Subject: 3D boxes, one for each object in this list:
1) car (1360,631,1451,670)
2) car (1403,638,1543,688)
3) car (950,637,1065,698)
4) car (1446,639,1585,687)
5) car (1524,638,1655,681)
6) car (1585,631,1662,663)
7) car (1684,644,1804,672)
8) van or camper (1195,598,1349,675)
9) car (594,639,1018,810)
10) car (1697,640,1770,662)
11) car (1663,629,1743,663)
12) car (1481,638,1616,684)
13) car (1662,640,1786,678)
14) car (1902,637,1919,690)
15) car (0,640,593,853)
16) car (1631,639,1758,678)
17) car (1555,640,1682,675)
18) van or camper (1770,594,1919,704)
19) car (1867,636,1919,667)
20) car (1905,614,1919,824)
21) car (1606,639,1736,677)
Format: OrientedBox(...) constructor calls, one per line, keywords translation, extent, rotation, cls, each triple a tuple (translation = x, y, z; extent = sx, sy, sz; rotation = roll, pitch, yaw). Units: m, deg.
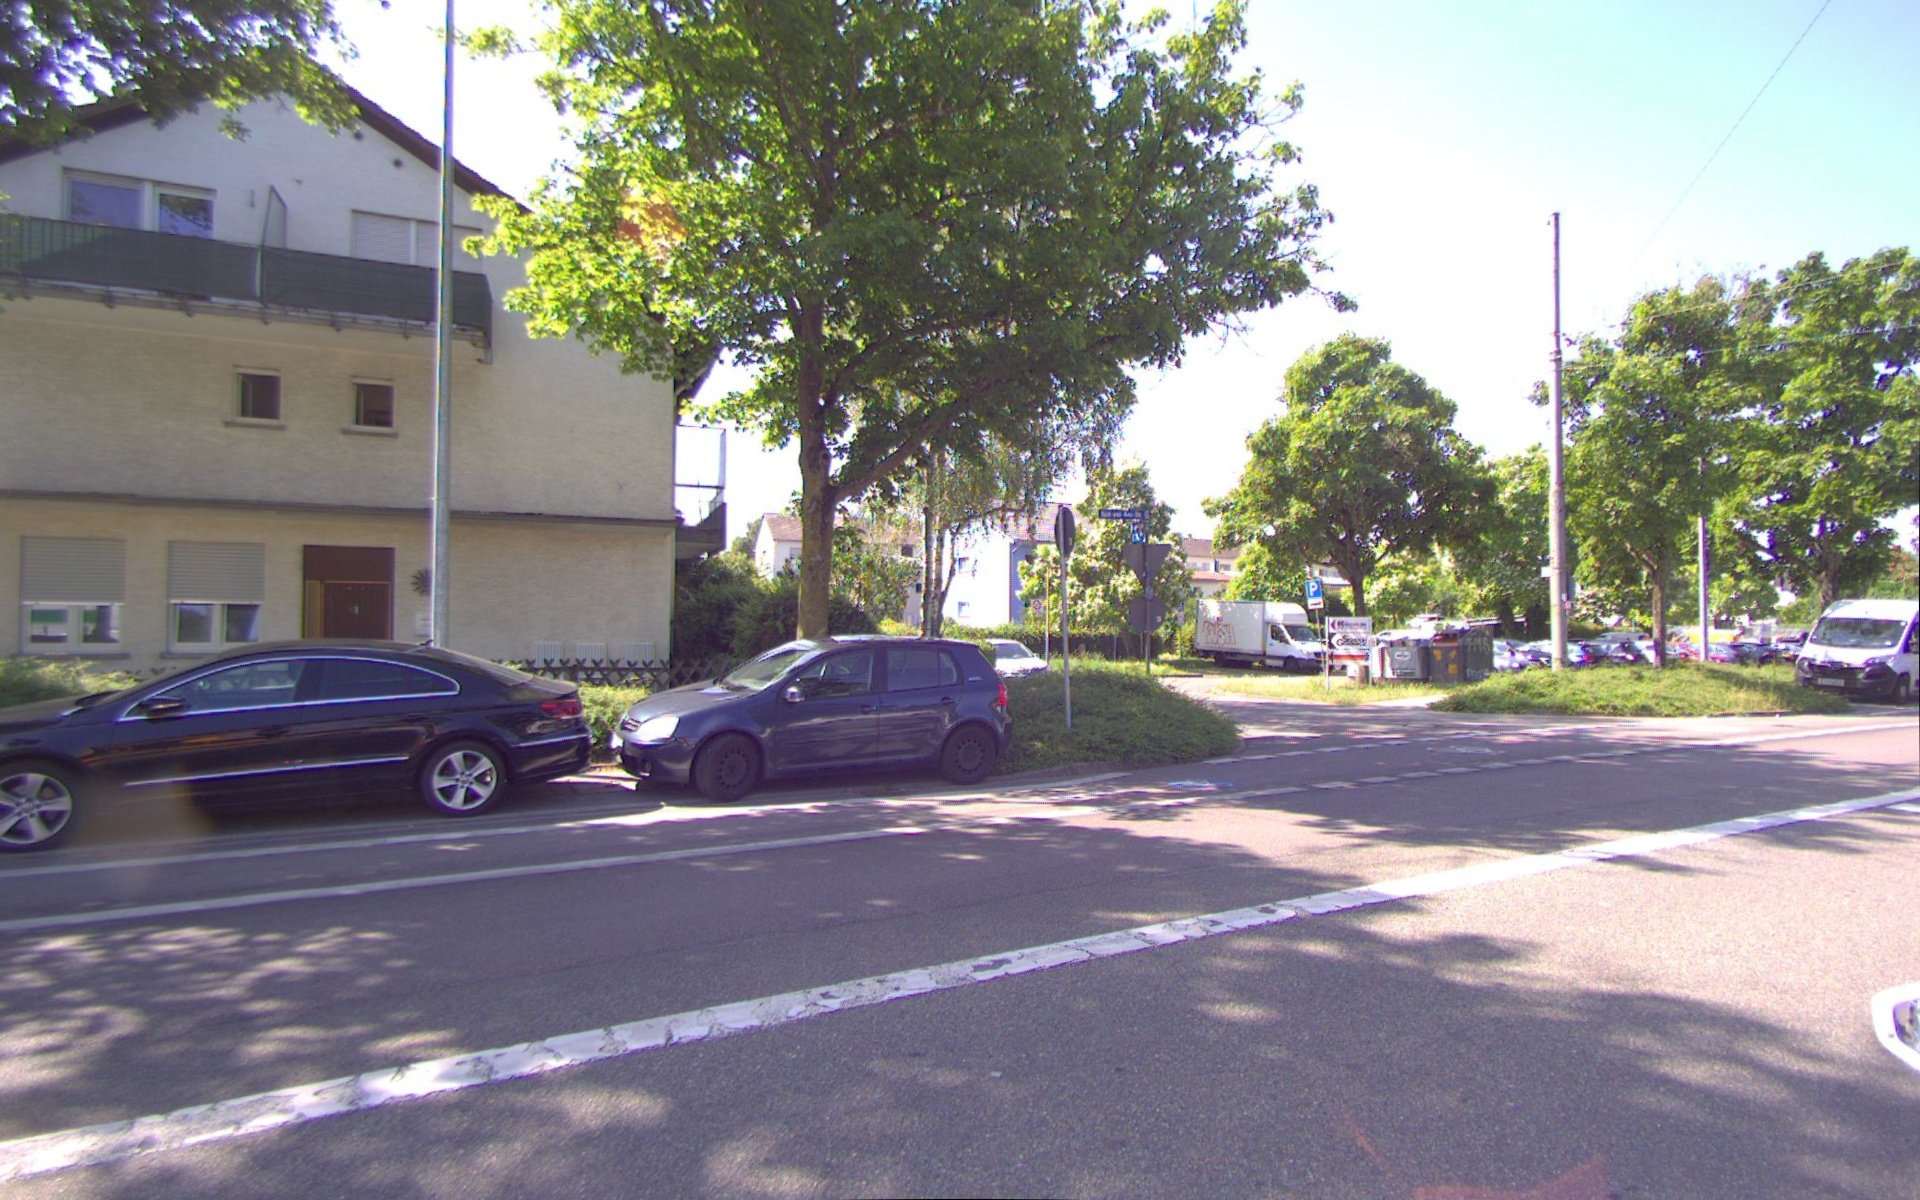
OrientedBox(translation=(22.718, 2.563, 51.376), extent=(1.766, 1.915, 3.964), rotation=(1, -2, -33), cls="car")
OrientedBox(translation=(17.205, 2.073, 33.867), extent=(1.645, 1.564, 3.967), rotation=(2, -3, -31), cls="car")
OrientedBox(translation=(1.244, 1.842, 28.323), extent=(1.781, 1.545, 3.981), rotation=(0, -2, -21), cls="car")
OrientedBox(translation=(19.311, 2.148, 35.085), extent=(1.645, 1.564, 3.967), rotation=(2, -3, -31), cls="car")
OrientedBox(translation=(24.082, 2.246, 38.553), extent=(1.644, 1.564, 3.969), rotation=(2, -3, -30), cls="car")
OrientedBox(translation=(44.961, 3.159, 68.102), extent=(1.890, 2.029, 3.964), rotation=(1, -2, -33), cls="car")
OrientedBox(translation=(34.897, 2.545, 44.810), extent=(1.644, 1.169, 3.871), rotation=(2, -3, -30), cls="car")
OrientedBox(translation=(14.349, 1.657, 46.774), extent=(2.553, 3.287, 6.914), rotation=(1, -2, -31), cls="van or camper")
OrientedBox(translation=(-1.523, 1.136, 10.341), extent=(4.033, 1.470, 1.609), rotation=(1, -2, -29), cls="car")
OrientedBox(translation=(54.497, 3.573, 70.840), extent=(1.515, 1.443, 3.826), rotation=(1, -2, -31), cls="car")
OrientedBox(translation=(50.438, 3.091, 68.277), extent=(1.890, 2.229, 3.964), rotation=(1, -2, -33), cls="car")
OrientedBox(translation=(21.381, 2.177, 36.638), extent=(1.645, 1.564, 3.967), rotation=(2, -3, -31), cls="car")
OrientedBox(translation=(33.005, 2.502, 43.497), extent=(1.644, 1.564, 3.969), rotation=(2, -3, -30), cls="car")
OrientedBox(translation=(29.102, 1.803, 28.698), extent=(4.829, 1.474, 1.923), rotation=(1, -2, -31), cls="car")
OrientedBox(translation=(-5.495, 1.034, 8.174), extent=(4.525, 1.413, 1.690), rotation=(1, -2, -29), cls="car")
OrientedBox(translation=(30.704, 2.404, 42.094), extent=(1.644, 1.564, 3.969), rotation=(1, -2, -30), cls="car")
OrientedBox(translation=(26.025, 2.246, 39.807), extent=(1.644, 1.287, 3.898), rotation=(2, -3, -30), cls="car")
OrientedBox(translation=(23.514, 1.225, 25.672), extent=(6.071, 2.547, 2.248), rotation=(1, -2, -29), cls="van or camper")
OrientedBox(translation=(53.902, 2.873, 56.506), extent=(1.645, 1.716, 3.967), rotation=(2, -3, -31), cls="car")
OrientedBox(translation=(9.517, 0.963, 8.070), extent=(3.963, 1.617, 1.722), rotation=(1, 0, -30), cls="car")
OrientedBox(translation=(28.691, 2.313, 40.656), extent=(1.712, 1.428, 3.969), rotation=(1, -2, -30), cls="car")
